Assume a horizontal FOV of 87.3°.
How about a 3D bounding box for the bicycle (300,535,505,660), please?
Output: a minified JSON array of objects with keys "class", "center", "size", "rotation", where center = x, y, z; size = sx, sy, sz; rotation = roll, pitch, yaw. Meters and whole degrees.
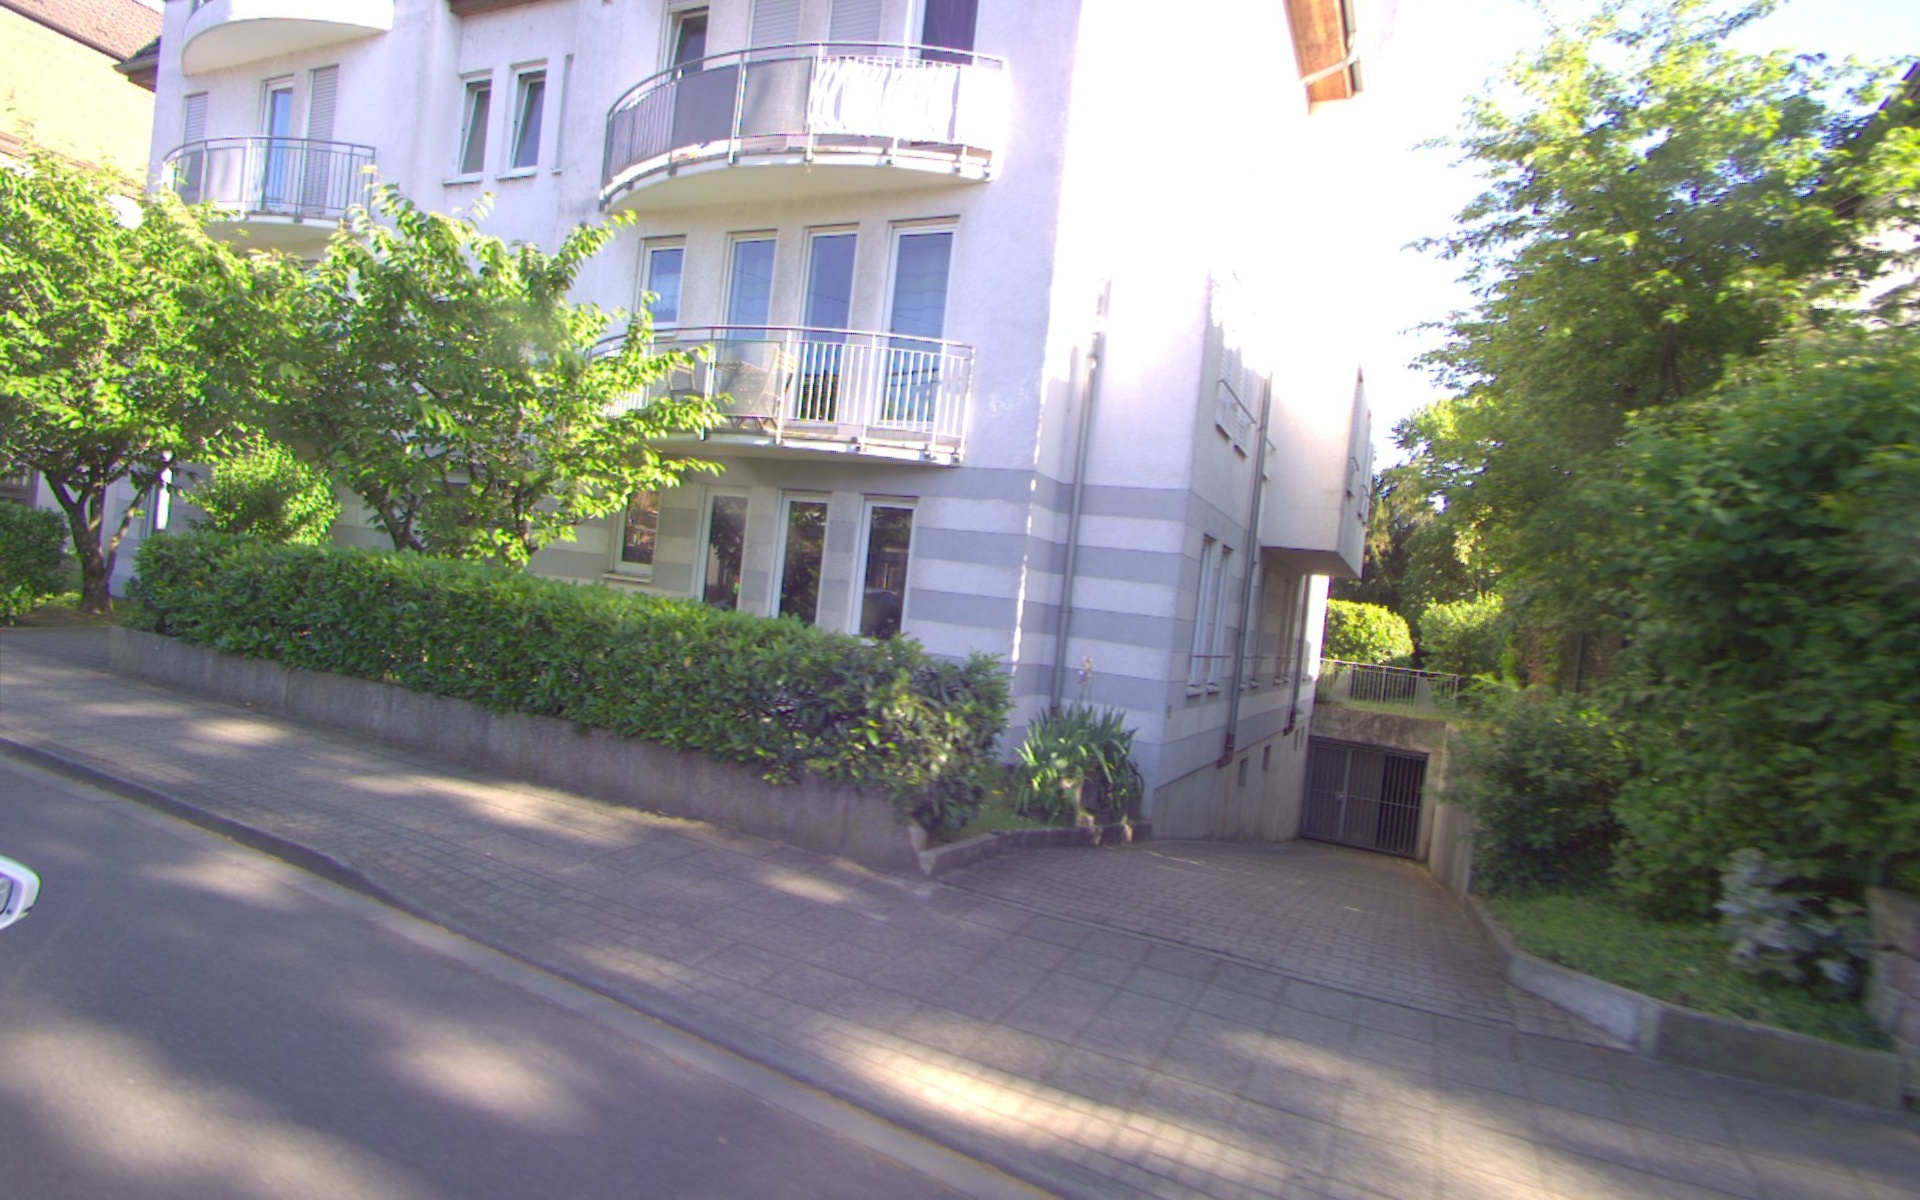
[{"class":"bicycle","center":[-6.146,-0.038,11.208],"size":[0.810,1.220,1.842],"rotation":[6,3,25]}]
